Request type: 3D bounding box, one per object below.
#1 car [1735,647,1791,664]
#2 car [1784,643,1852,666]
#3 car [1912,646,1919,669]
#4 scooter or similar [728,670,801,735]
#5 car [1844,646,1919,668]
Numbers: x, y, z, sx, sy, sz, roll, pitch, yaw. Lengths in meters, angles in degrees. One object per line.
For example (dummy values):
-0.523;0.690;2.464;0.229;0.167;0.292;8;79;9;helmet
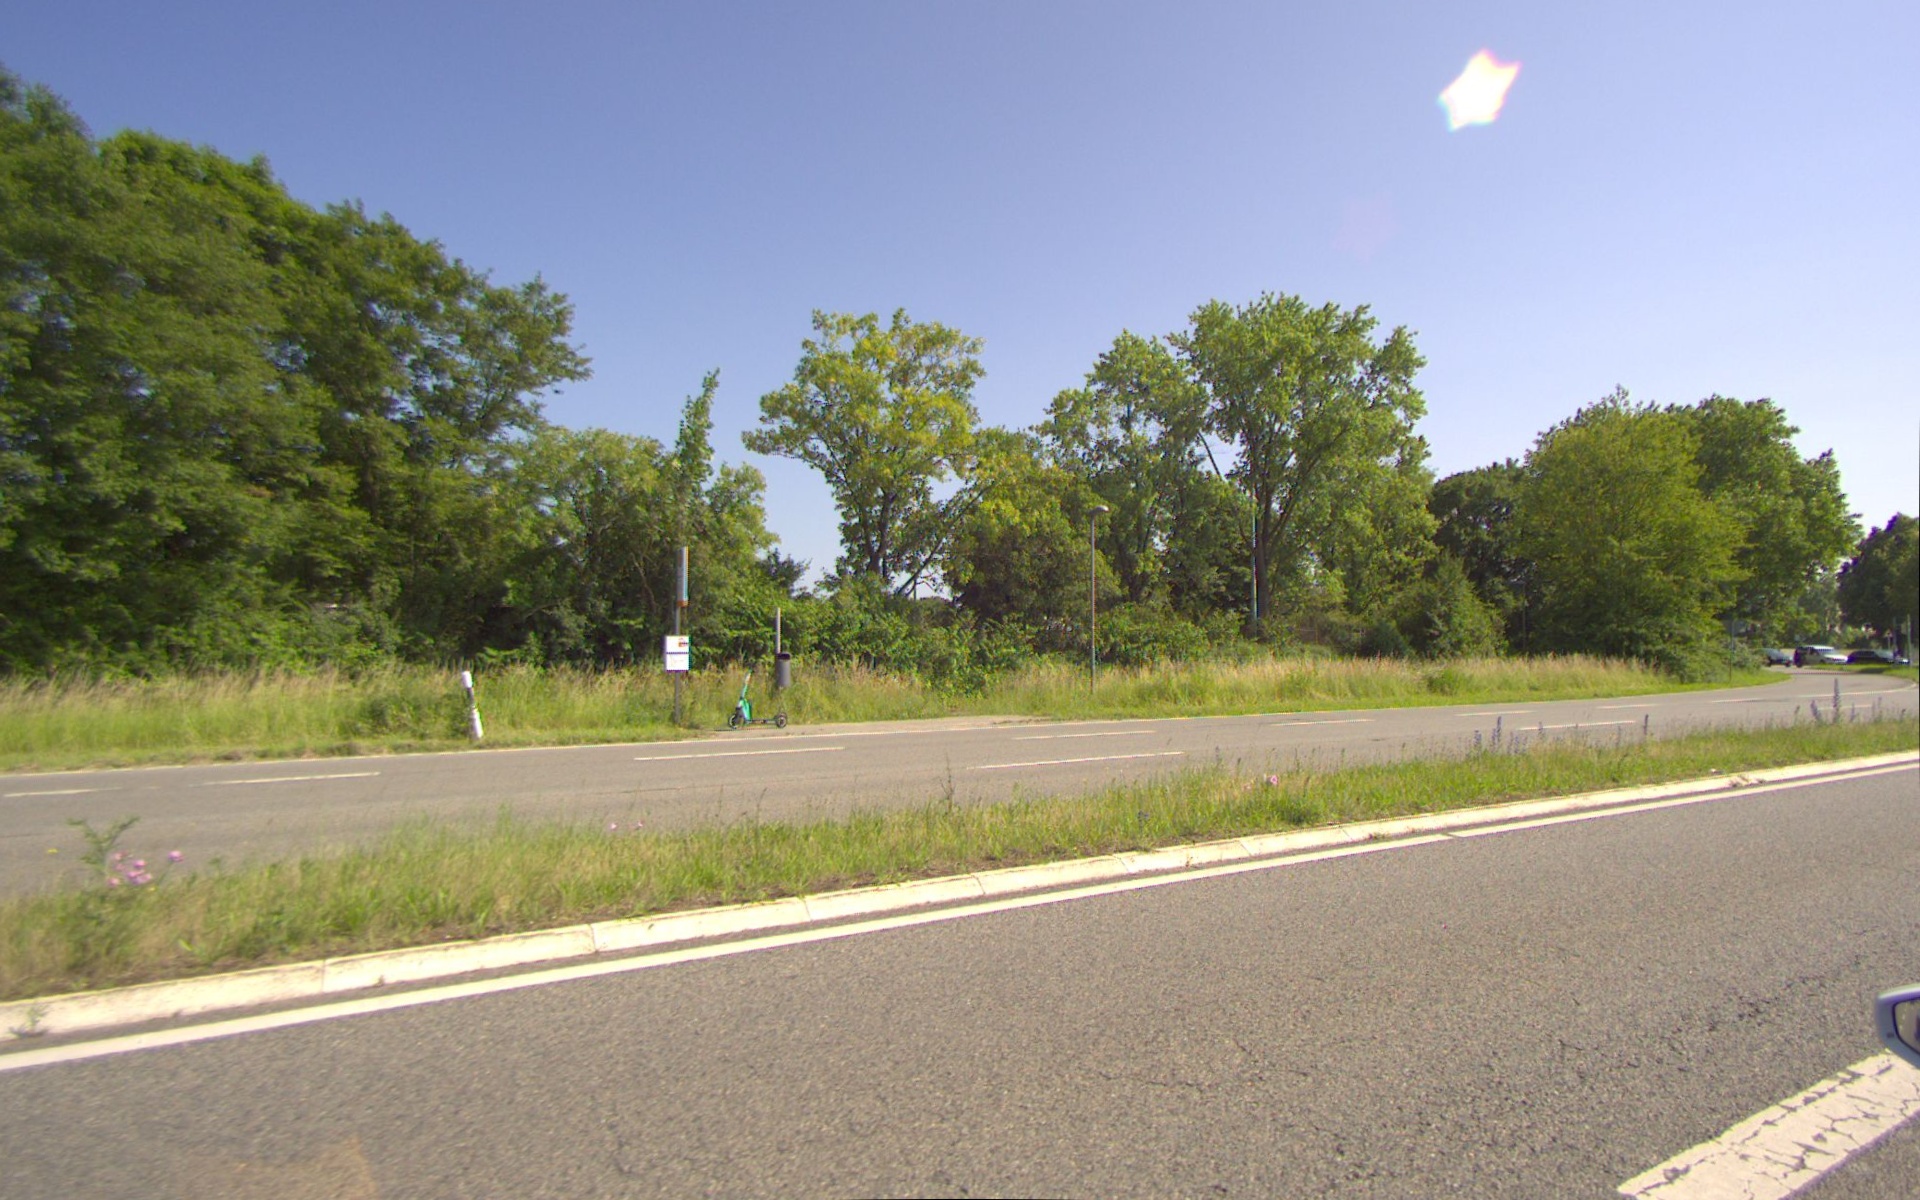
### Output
70.880;4.891;88.780;1.881;1.532;4.129;0;-3;5;car
70.478;4.474;82.594;1.964;1.824;4.511;0;-3;5;car
68.916;4.016;69.652;1.964;1.627;4.271;0;-3;5;car
-3.731;1.941;19.243;1.325;1.201;0.366;2;-4;-31;scooter or similar
69.468;4.274;75.835;1.964;1.627;4.271;0;-3;5;car
